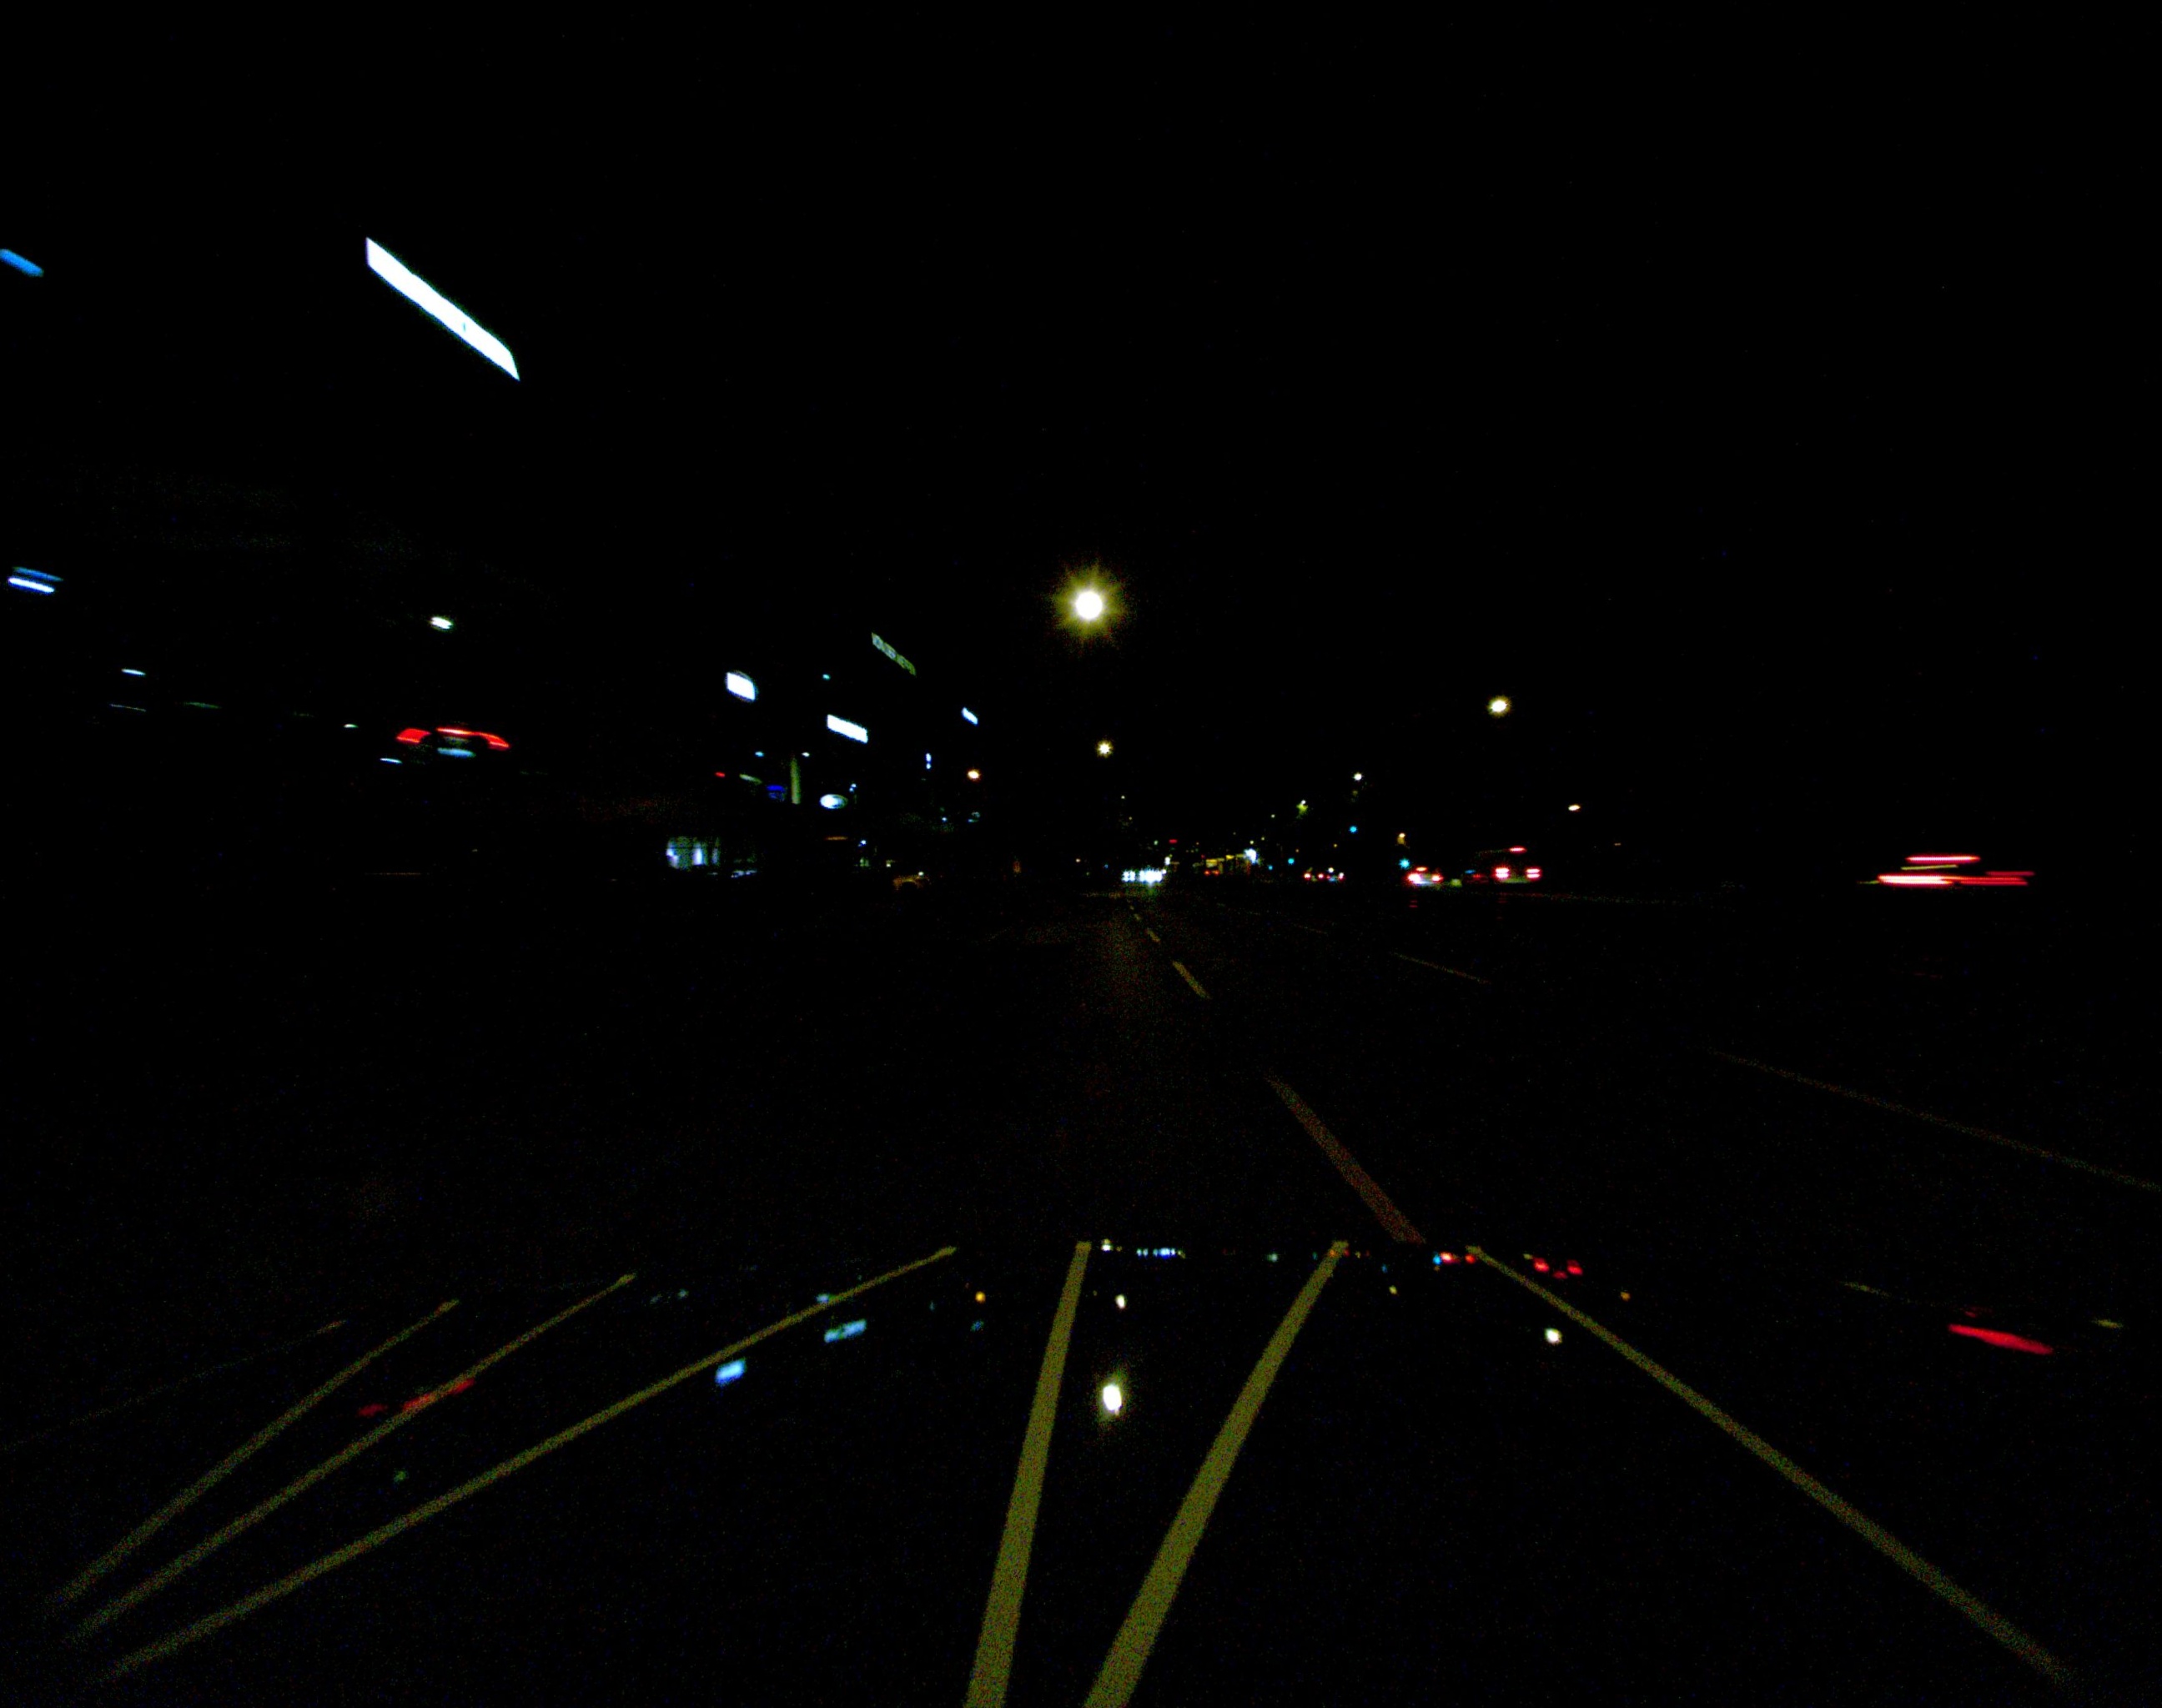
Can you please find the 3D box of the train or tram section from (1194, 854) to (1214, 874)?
[{"bbox_3d":[25.127,1.996,156.120,2.744,3.823,19.375,-1,-1,6],"label":"train or tram section"}]

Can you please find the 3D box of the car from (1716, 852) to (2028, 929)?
[{"bbox_3d":[17.217,0.725,17.022,1.871,1.420,4.957,-2,0,1],"label":"car"}]

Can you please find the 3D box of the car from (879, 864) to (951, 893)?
[{"bbox_3d":[-9.069,1.321,41.399,3.616,1.425,1.677,-1,0,-19],"label":"car"}]

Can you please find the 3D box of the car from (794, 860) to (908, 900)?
[{"bbox_3d":[-9.221,1.018,30.779,4.135,1.412,1.875,-2,0,-9],"label":"car"}]

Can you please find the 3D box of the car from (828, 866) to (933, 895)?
[{"bbox_3d":[-9.494,1.228,35.988,4.649,1.256,1.944,0,-2,-20],"label":"car"}]

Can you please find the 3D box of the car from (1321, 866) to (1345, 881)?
[{"bbox_3d":[27.273,2.059,82.276,1.663,1.507,3.912,-1,0,6],"label":"car"}]

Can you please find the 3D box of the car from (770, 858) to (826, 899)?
[{"bbox_3d":[-14.115,1.188,37.834,1.591,1.786,3.859,-1,2,-36],"label":"car"}]

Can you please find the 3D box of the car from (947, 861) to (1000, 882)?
[{"bbox_3d":[-8.140,1.350,57.382,3.815,1.444,1.716,2,-1,-9],"label":"car"}]

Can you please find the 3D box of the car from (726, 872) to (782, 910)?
[{"bbox_3d":[-14.518,1.591,33.642,1.781,1.401,4.328,-1,1,-30],"label":"car"}]

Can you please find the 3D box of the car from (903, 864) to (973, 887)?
[{"bbox_3d":[-8.820,1.342,46.793,4.003,1.383,1.824,1,-2,-18],"label":"car"}]

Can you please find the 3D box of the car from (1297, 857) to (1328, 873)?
[{"bbox_3d":[23.146,1.051,76.109,1.789,1.488,4.174,-1,0,1],"label":"car"}]

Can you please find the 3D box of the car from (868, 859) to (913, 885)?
[{"bbox_3d":[-14.488,1.345,57.594,1.838,1.906,4.816,-1,0,-32],"label":"car"}]

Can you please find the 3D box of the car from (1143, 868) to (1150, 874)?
[{"bbox_3d":[17.150,4.406,199.366,1.711,1.562,4.000,-1,0,1],"label":"car"}]

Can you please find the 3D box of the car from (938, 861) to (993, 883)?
[{"bbox_3d":[-8.354,1.274,54.908,3.780,1.370,1.715,3,-1,-9],"label":"car"}]

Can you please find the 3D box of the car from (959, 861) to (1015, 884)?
[{"bbox_3d":[-7.759,1.505,62.854,4.474,1.538,1.769,4,0,-5],"label":"car"}]

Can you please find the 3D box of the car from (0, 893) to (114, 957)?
[{"bbox_3d":[-27.386,1.753,19.204,3.731,1.441,1.616,0,1,0],"label":"car"}]

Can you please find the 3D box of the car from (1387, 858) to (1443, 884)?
[{"bbox_3d":[19.773,0.961,45.137,1.624,1.431,4.339,1,0,3],"label":"car"}]

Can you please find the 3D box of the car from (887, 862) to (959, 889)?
[{"bbox_3d":[-9.179,1.253,44.034,4.003,1.461,1.831,2,-1,-15],"label":"car"}]

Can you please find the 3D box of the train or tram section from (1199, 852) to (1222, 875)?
[{"bbox_3d":[23.201,1.728,137.210,2.764,3.804,18.681,-1,-1,6],"label":"train or tram section"}]

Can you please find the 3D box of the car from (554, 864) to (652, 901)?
[{"bbox_3d":[-22.340,1.330,35.587,3.486,1.576,1.749,1,2,5],"label":"car"}]

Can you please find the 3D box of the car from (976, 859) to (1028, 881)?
[{"bbox_3d":[-7.184,1.490,69.005,4.474,1.677,1.999,4,-1,-6],"label":"car"}]

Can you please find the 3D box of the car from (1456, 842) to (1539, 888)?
[{"bbox_3d":[26.647,0.685,48.951,2.149,2.655,6.966,2,0,6],"label":"car"}]

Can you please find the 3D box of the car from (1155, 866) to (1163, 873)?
[{"bbox_3d":[19.449,3.899,189.287,1.907,1.608,3.720,-1,0,6],"label":"car"}]

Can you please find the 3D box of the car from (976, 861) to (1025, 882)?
[{"bbox_3d":[-6.979,1.546,66.060,4.093,1.559,1.854,3,-1,-6],"label":"car"}]

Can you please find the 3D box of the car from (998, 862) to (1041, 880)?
[{"bbox_3d":[-6.231,1.742,76.778,4.215,1.653,1.960,2,-1,-6],"label":"car"}]

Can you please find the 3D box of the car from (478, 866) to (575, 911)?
[{"bbox_3d":[-22.836,1.378,31.425,1.637,1.632,3.299,2,1,-1],"label":"car"}]

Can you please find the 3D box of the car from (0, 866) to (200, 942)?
[{"bbox_3d":[-28.347,1.405,21.851,3.716,2.002,1.747,-1,0,-6],"label":"car"}]

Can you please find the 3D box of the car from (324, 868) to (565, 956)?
[{"bbox_3d":[-17.153,1.449,21.011,1.999,2.002,5.627,-1,0,-1],"label":"car"}]

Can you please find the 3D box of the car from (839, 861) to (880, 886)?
[{"bbox_3d":[-13.833,1.191,47.329,1.628,1.455,3.786,0,-1,-29],"label":"car"}]

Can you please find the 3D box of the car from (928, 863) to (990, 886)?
[{"bbox_3d":[-8.424,1.436,52.309,4.037,1.365,1.824,3,-1,-12],"label":"car"}]

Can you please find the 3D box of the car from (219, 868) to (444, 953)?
[{"bbox_3d":[-20.059,1.420,20.674,1.816,1.982,4.408,-1,0,-2],"label":"car"}]

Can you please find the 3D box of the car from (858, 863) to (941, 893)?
[{"bbox_3d":[-9.222,1.209,38.691,4.002,1.415,1.907,-1,-2,-13],"label":"car"}]

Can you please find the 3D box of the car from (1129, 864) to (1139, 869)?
[{"bbox_3d":[13.016,3.133,187.973,1.946,1.299,3.909,1,-1,11],"label":"car"}]

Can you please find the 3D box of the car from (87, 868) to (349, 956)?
[{"bbox_3d":[-22.481,1.417,20.134,1.956,1.982,4.408,-1,0,-2],"label":"car"}]

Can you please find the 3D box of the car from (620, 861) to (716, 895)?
[{"bbox_3d":[-21.802,1.219,40.209,4.328,1.644,1.653,-1,0,-33],"label":"car"}]

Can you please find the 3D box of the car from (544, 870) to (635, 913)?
[{"bbox_3d":[-20.398,1.527,31.701,1.637,1.505,3.415,0,2,-1],"label":"car"}]

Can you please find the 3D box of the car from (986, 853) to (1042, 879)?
[{"bbox_3d":[-7.661,1.396,86.660,6.039,2.514,2.281,4,-1,-12],"label":"car"}]
